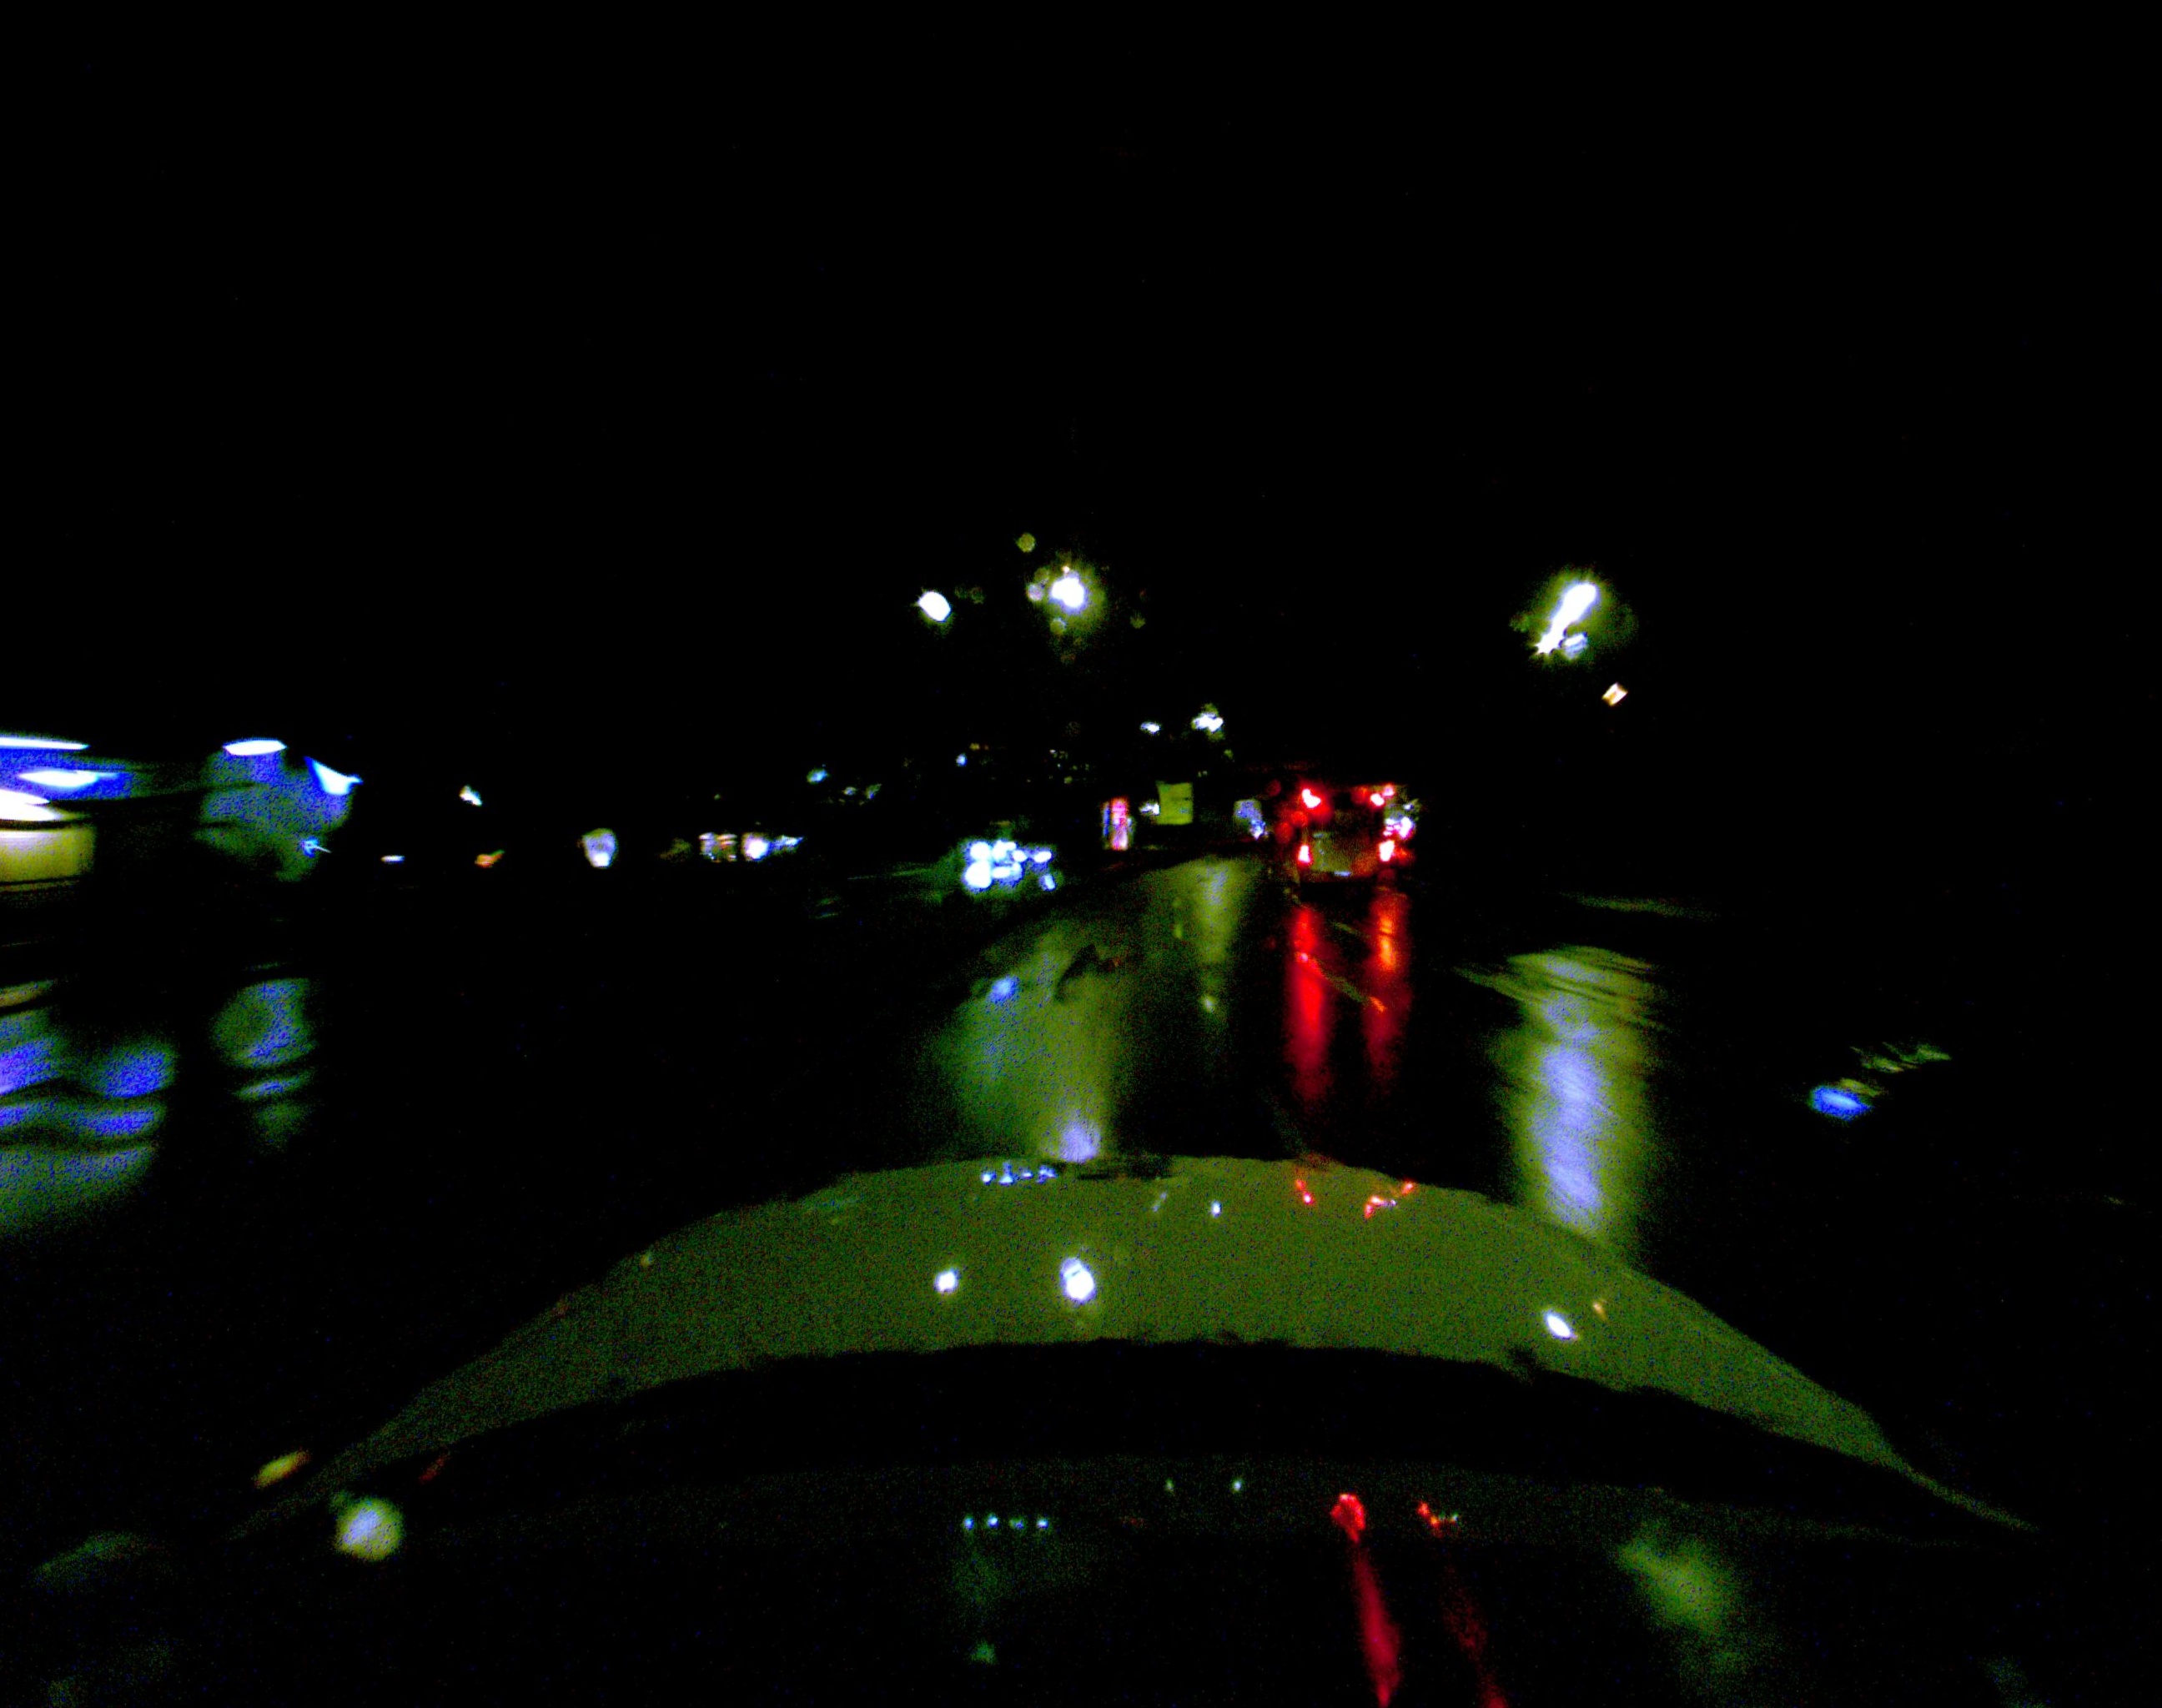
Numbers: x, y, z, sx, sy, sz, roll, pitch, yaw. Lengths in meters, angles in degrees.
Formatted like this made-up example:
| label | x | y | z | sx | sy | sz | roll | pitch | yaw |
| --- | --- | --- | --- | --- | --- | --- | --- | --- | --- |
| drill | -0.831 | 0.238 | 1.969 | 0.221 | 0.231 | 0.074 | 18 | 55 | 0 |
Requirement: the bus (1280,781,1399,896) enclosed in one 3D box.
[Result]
| label | x | y | z | sx | sy | sz | roll | pitch | yaw |
| --- | --- | --- | --- | --- | --- | --- | --- | --- | --- |
| bus | 8.499 | -0.438 | 27.898 | 3.023 | 3.212 | 9.081 | -1 | 0 | 13 |

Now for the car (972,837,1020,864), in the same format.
| label | x | y | z | sx | sy | sz | roll | pitch | yaw |
| --- | --- | --- | --- | --- | --- | --- | --- | --- | --- |
| car | -5.445 | -0.270 | 52.573 | 1.981 | 1.594 | 4.012 | -2 | 1 | 10 |

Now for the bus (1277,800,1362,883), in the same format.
| label | x | y | z | sx | sy | sz | roll | pitch | yaw |
| --- | --- | --- | --- | --- | --- | --- | --- | --- | --- |
| bus | 10.502 | -0.490 | 36.762 | 3.023 | 3.212 | 9.081 | -1 | 0 | 13 |

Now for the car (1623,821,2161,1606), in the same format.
| label | x | y | z | sx | sy | sz | roll | pitch | yaw |
| --- | --- | --- | --- | --- | --- | --- | --- | --- | --- |
| car | 3.070 | 0.682 | 1.165 | 1.986 | 1.524 | 4.001 | -1 | 0 | 1 |

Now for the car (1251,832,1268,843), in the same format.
| label | x | y | z | sx | sy | sz | roll | pitch | yaw |
| --- | --- | --- | --- | --- | --- | --- | --- | --- | --- |
| car | 24.585 | -2.271 | 111.880 | 1.553 | 1.426 | 3.975 | -1 | 1 | 24 |

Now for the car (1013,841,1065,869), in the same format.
| label | x | y | z | sx | sy | sz | roll | pitch | yaw |
| --- | --- | --- | --- | --- | --- | --- | --- | --- | --- |
| car | -2.391 | 0.020 | 47.679 | 1.854 | 1.463 | 4.654 | -4 | 0 | 11 |
